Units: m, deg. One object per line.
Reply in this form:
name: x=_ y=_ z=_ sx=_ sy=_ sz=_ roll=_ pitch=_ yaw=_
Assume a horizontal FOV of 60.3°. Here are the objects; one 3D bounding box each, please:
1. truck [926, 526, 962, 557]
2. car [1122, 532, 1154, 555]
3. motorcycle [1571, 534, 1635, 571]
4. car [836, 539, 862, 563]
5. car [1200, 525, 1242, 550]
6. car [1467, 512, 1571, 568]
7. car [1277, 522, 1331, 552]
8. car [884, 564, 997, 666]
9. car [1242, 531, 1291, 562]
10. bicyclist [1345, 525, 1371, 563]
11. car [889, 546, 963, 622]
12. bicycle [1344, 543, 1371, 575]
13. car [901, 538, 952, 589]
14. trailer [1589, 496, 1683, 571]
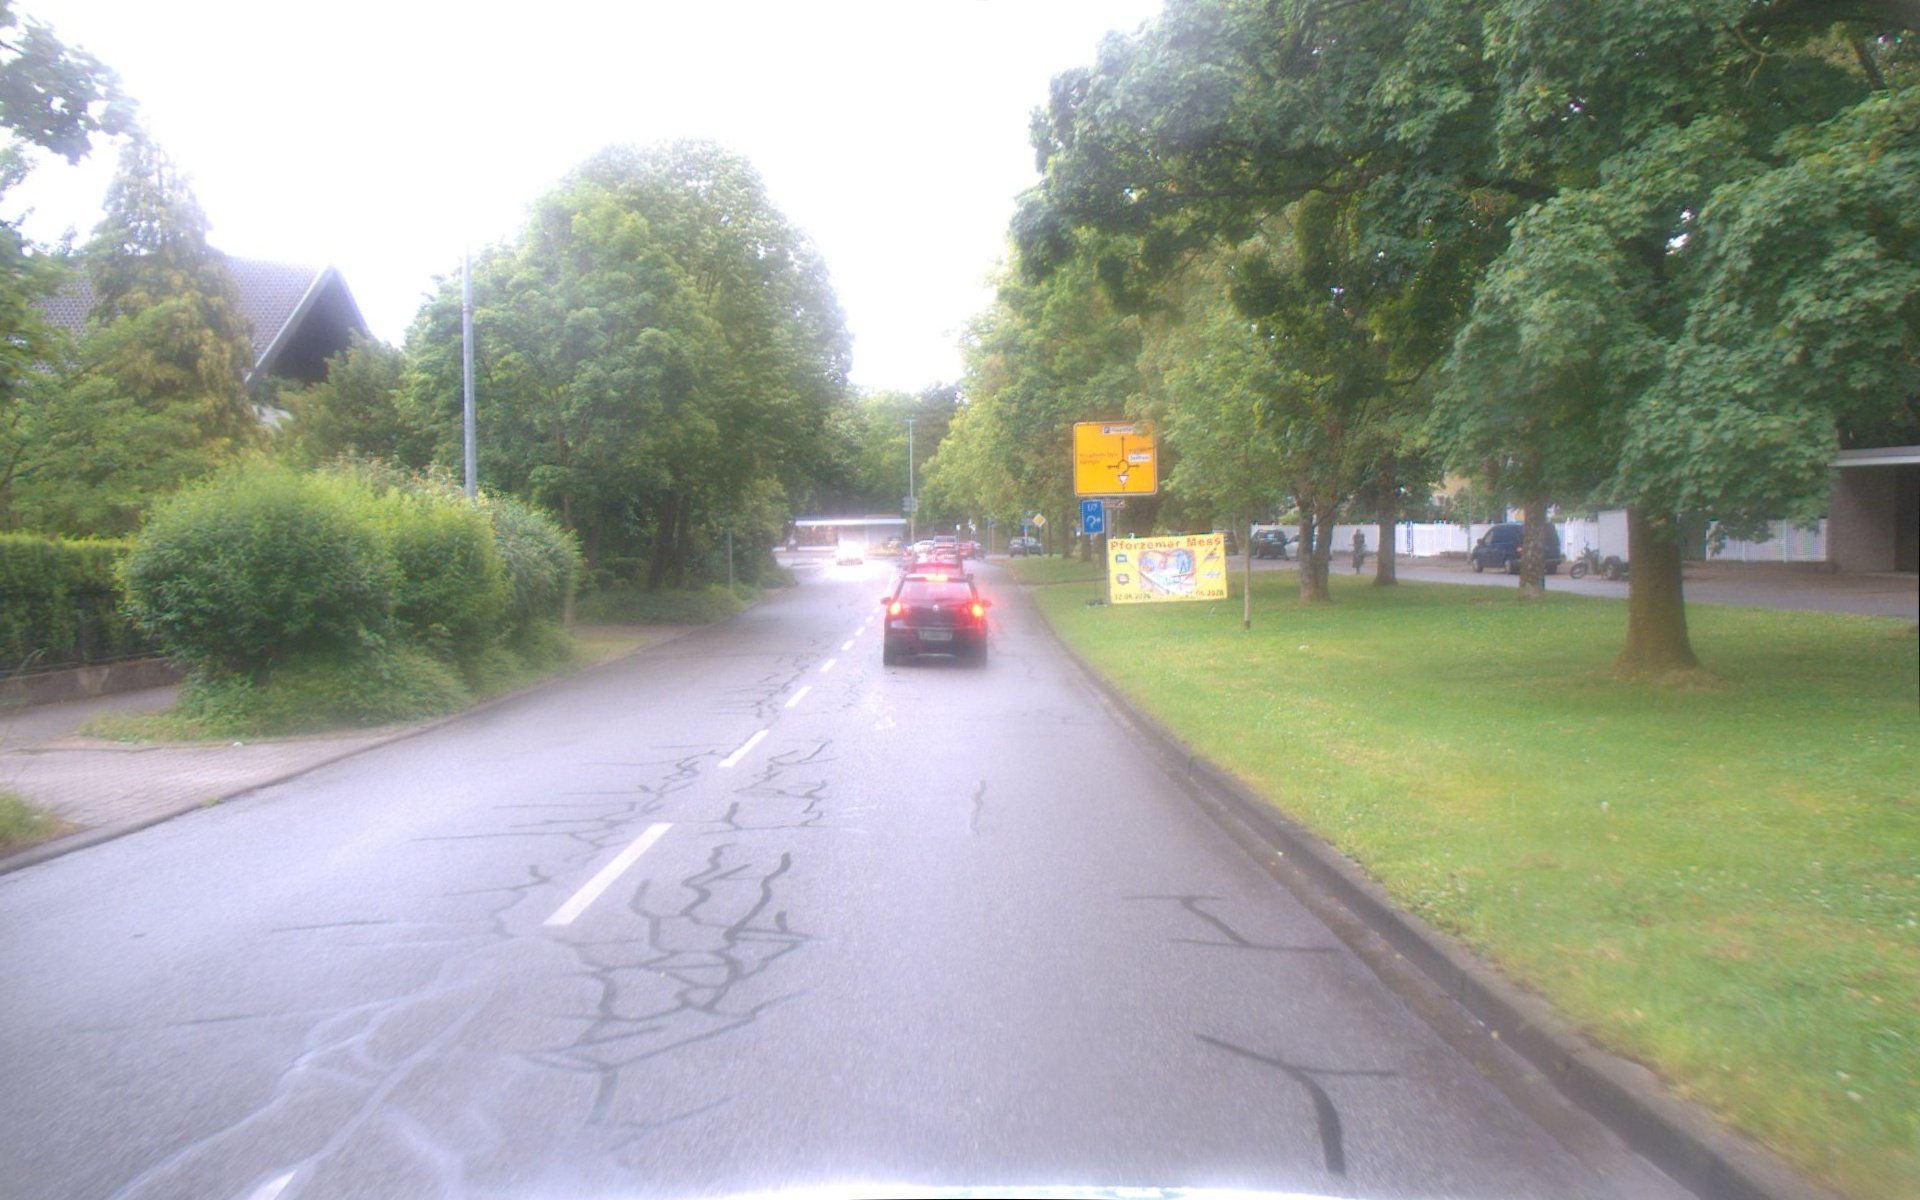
truck: x=-1.136 y=-4.085 z=115.319 sx=2.368 sy=2.039 sz=5.150 roll=-2 pitch=2 yaw=-2
car: x=12.688 y=-4.060 z=118.370 sx=1.767 sy=1.430 sz=4.001 roll=-3 pitch=3 yaw=0
motorcycle: x=20.467 y=-1.509 z=52.664 sx=1.846 sy=1.111 sz=0.659 roll=0 pitch=3 yaw=19
car: x=-8.166 y=-3.619 z=121.147 sx=1.729 sy=1.642 sz=4.137 roll=-2 pitch=2 yaw=-5
car: x=16.605 y=-4.018 z=105.420 sx=1.766 sy=1.435 sz=4.111 roll=-3 pitch=3 yaw=-3
car: x=20.055 y=-2.164 z=59.585 sx=1.903 sy=1.840 sz=4.647 roll=-3 pitch=3 yaw=-3
car: x=17.857 y=-3.291 z=85.940 sx=1.585 sy=1.434 sz=4.007 roll=-3 pitch=3 yaw=-6
car: x=-0.321 y=0.194 z=28.106 sx=1.762 sy=1.541 sz=3.754 roll=1 pitch=2 yaw=0
car: x=17.246 y=-3.033 z=93.351 sx=1.766 sy=1.556 sz=4.111 roll=-3 pitch=3 yaw=-3
bicyclist: x=15.023 y=-2.097 z=62.509 sx=0.729 sy=1.415 sz=1.000 roll=-1 pitch=1 yaw=-1
car: x=-0.870 y=-0.465 z=43.832 sx=1.817 sy=1.815 sz=4.001 roll=-1 pitch=3 yaw=0
bicycle: x=15.020 y=-1.555 z=62.519 sx=0.583 sy=1.158 sz=1.863 roll=-1 pitch=2 yaw=0
car: x=-1.236 y=-1.419 z=63.030 sx=1.817 sy=1.815 sz=4.001 roll=-1 pitch=2 yaw=0
trailer: x=20.553 y=-2.008 z=50.380 sx=1.408 sy=2.192 sz=2.947 roll=-1 pitch=1 yaw=-6
